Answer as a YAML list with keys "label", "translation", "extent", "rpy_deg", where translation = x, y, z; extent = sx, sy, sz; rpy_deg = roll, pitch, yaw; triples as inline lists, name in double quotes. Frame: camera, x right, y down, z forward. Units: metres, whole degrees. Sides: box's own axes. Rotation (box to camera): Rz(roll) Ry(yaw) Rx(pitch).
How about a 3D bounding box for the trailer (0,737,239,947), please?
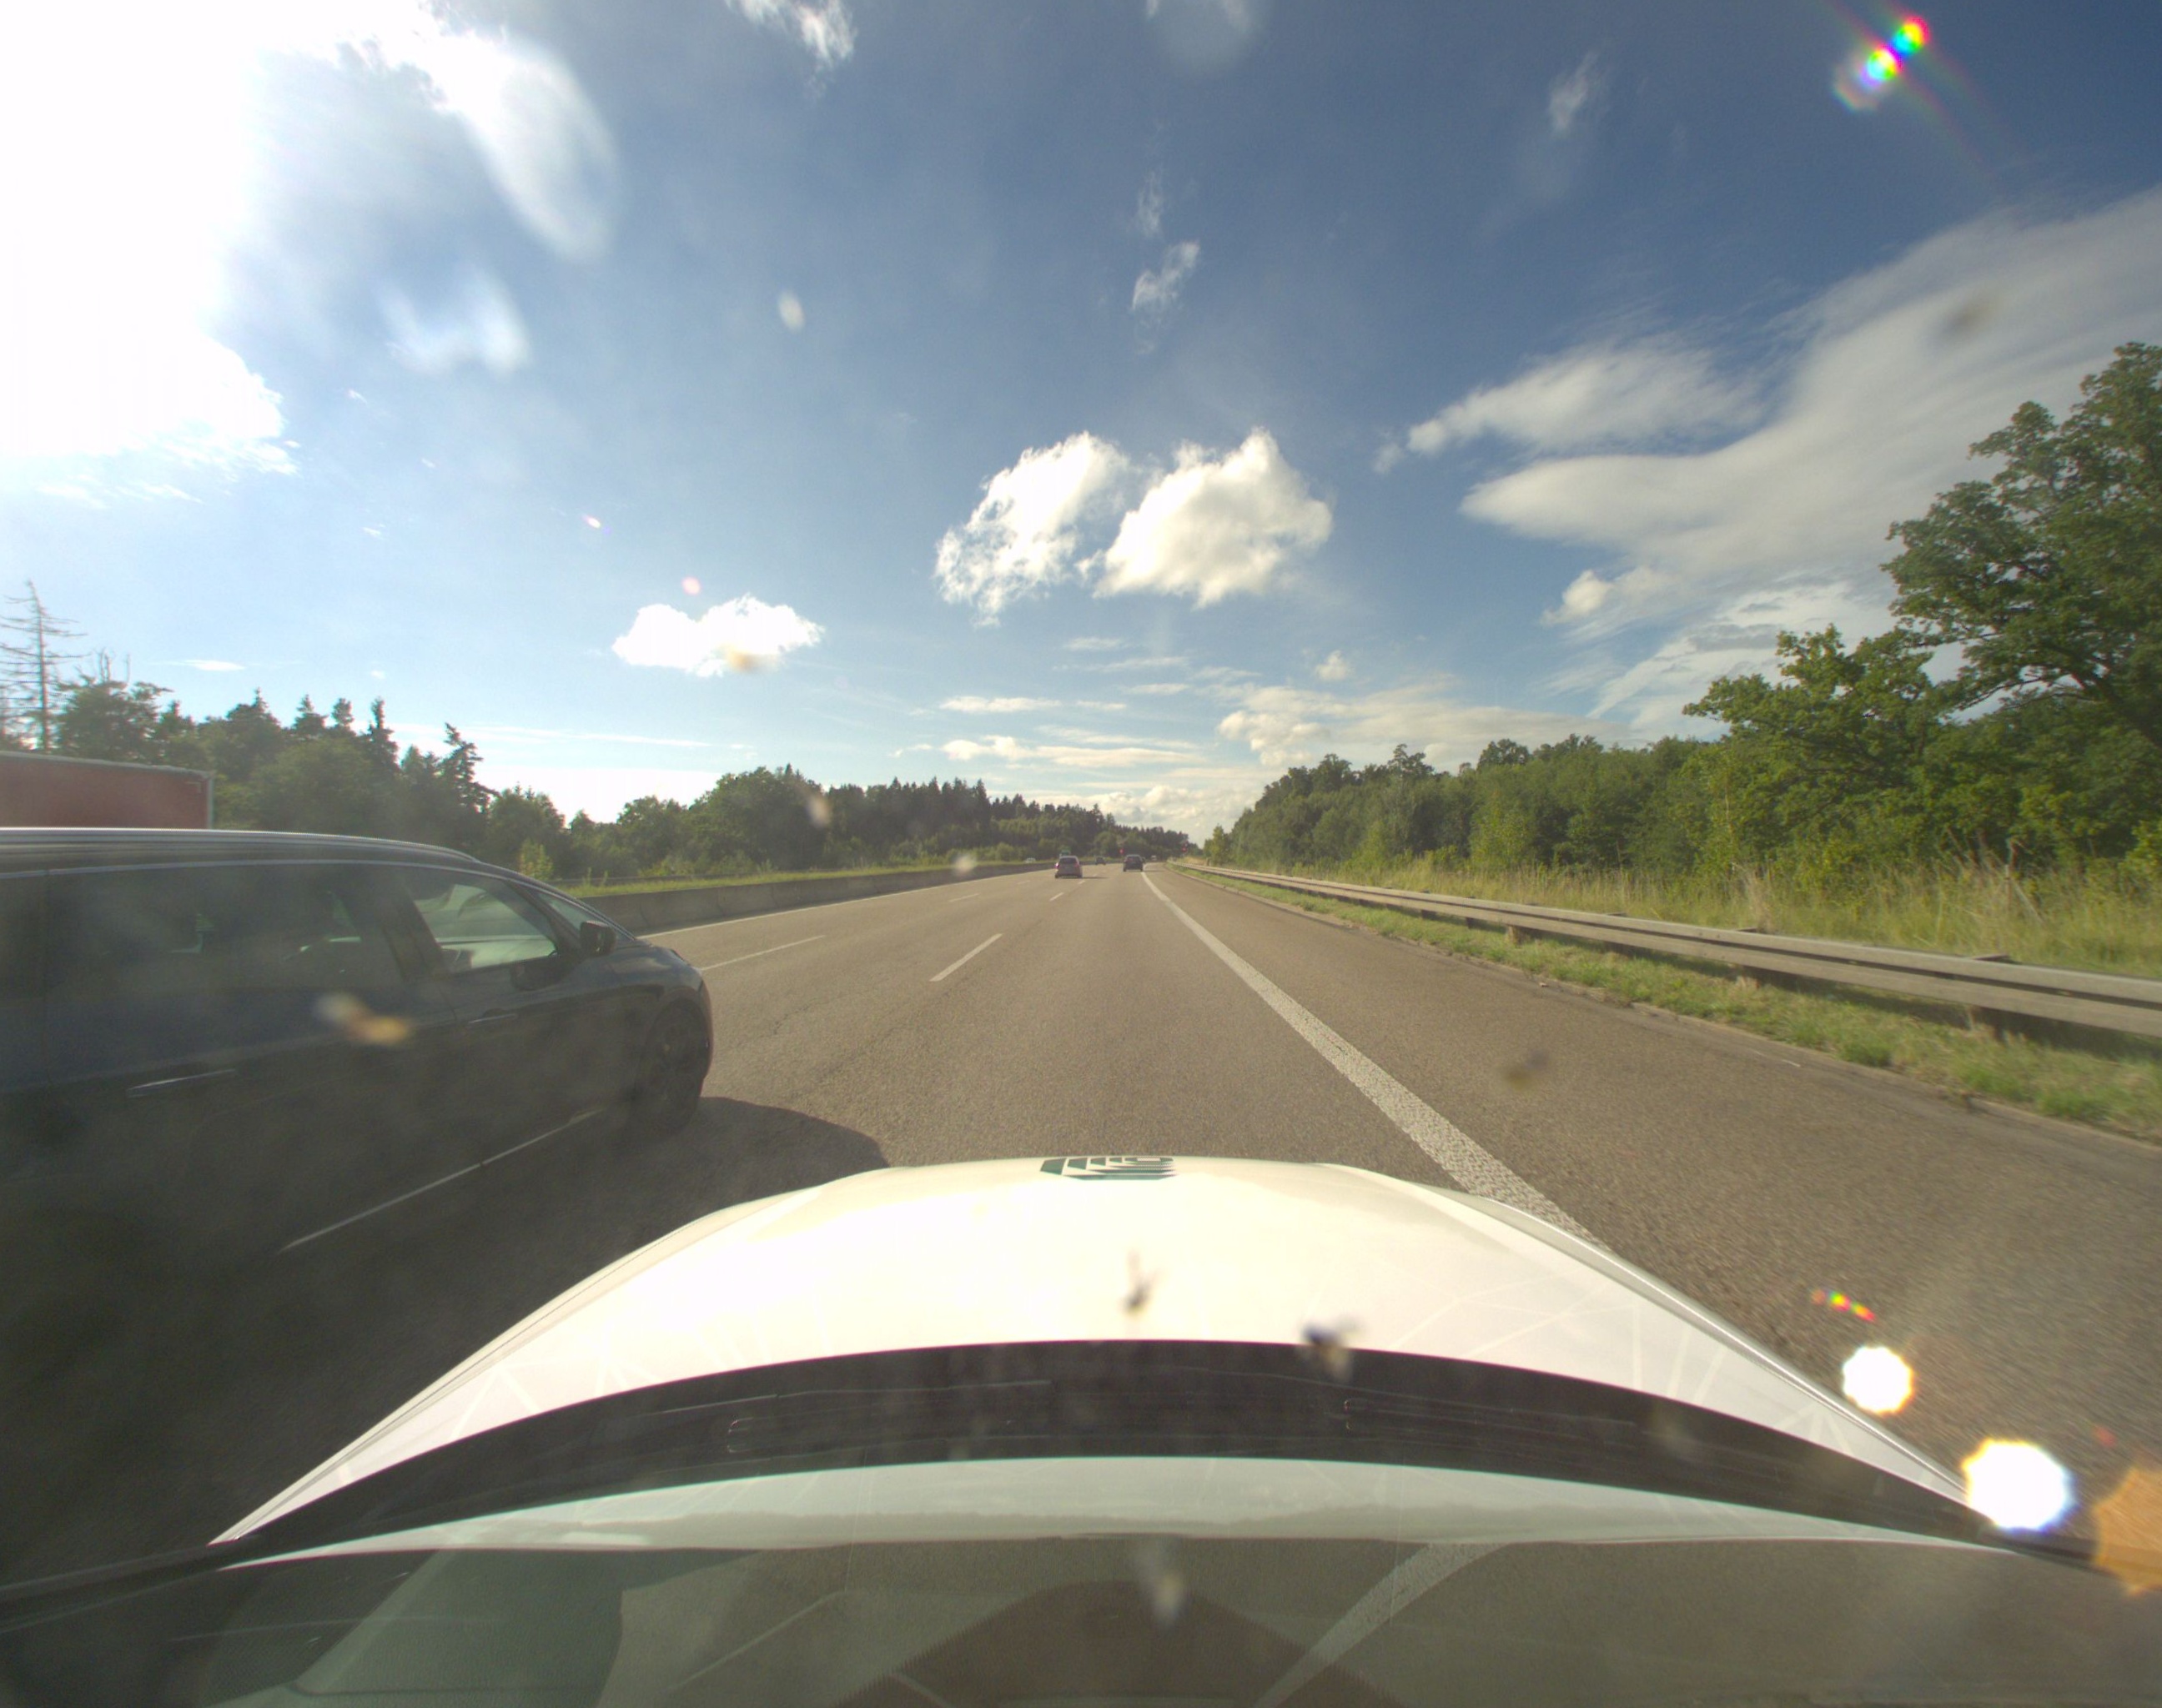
- label: "trailer"
  translation: [-22.709, -0.212, 13.877]
  extent: [3.009, 4.108, 12.798]
  rpy_deg: [-1, 0, 2]

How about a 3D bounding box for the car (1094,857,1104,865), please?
- label: "car"
  translation: [3.475, 1.327, 154.553]
  extent: [1.866, 1.497, 3.882]
  rpy_deg: [-1, 0, 2]

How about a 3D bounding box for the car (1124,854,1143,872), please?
- label: "car"
  translation: [5.109, 0.889, 79.506]
  extent: [1.866, 1.675, 3.893]
  rpy_deg: [-1, 0, 3]

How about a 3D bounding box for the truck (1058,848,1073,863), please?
- label: "truck"
  translation: [-4.267, 0.507, 219.737]
  extent: [3.359, 4.009, 5.872]
  rpy_deg: [-1, 0, 5]

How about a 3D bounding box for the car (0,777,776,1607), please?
- label: "car"
  translation: [-3.200, 0.713, 3.511]
  extent: [1.987, 1.707, 4.529]
  rpy_deg: [-1, 0, 1]

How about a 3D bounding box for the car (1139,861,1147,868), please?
- label: "car"
  translation: [13.989, 2.348, 183.242]
  extent: [1.804, 1.706, 4.005]
  rpy_deg: [-1, 0, 5]

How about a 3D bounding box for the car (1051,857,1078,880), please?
- label: "car"
  translation: [-1.131, 0.993, 58.007]
  extent: [1.868, 1.497, 3.879]
  rpy_deg: [-1, 0, 0]
